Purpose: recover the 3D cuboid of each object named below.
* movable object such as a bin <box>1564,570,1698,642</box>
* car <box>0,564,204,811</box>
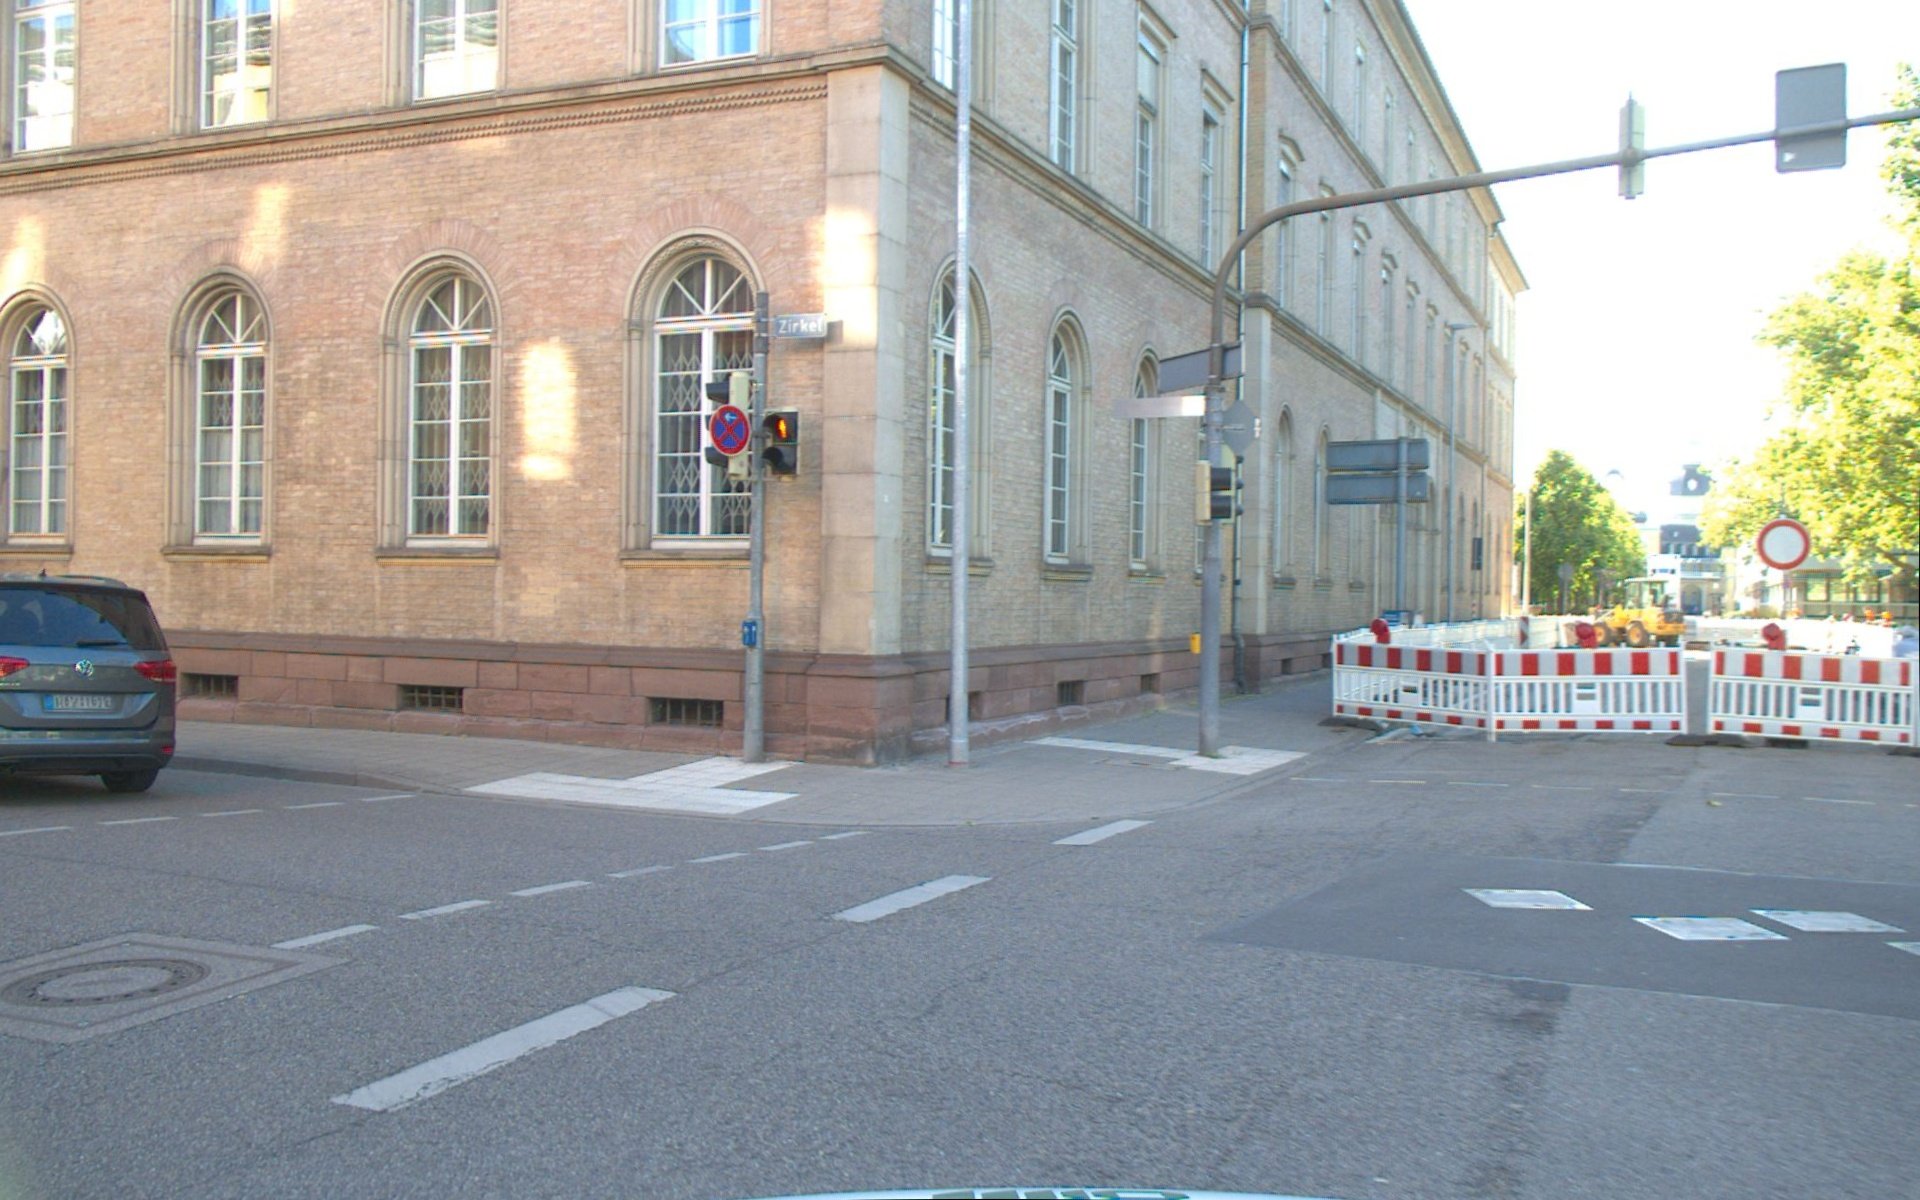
[{"bbox_3d":[27.608,0.240,68.188,2.433,2.825,4.807,1,0,-23],"label":"movable object such as a bin"},{"bbox_3d":[-7.618,0.561,12.552,3.921,1.635,1.760,1,0,37],"label":"car"}]
